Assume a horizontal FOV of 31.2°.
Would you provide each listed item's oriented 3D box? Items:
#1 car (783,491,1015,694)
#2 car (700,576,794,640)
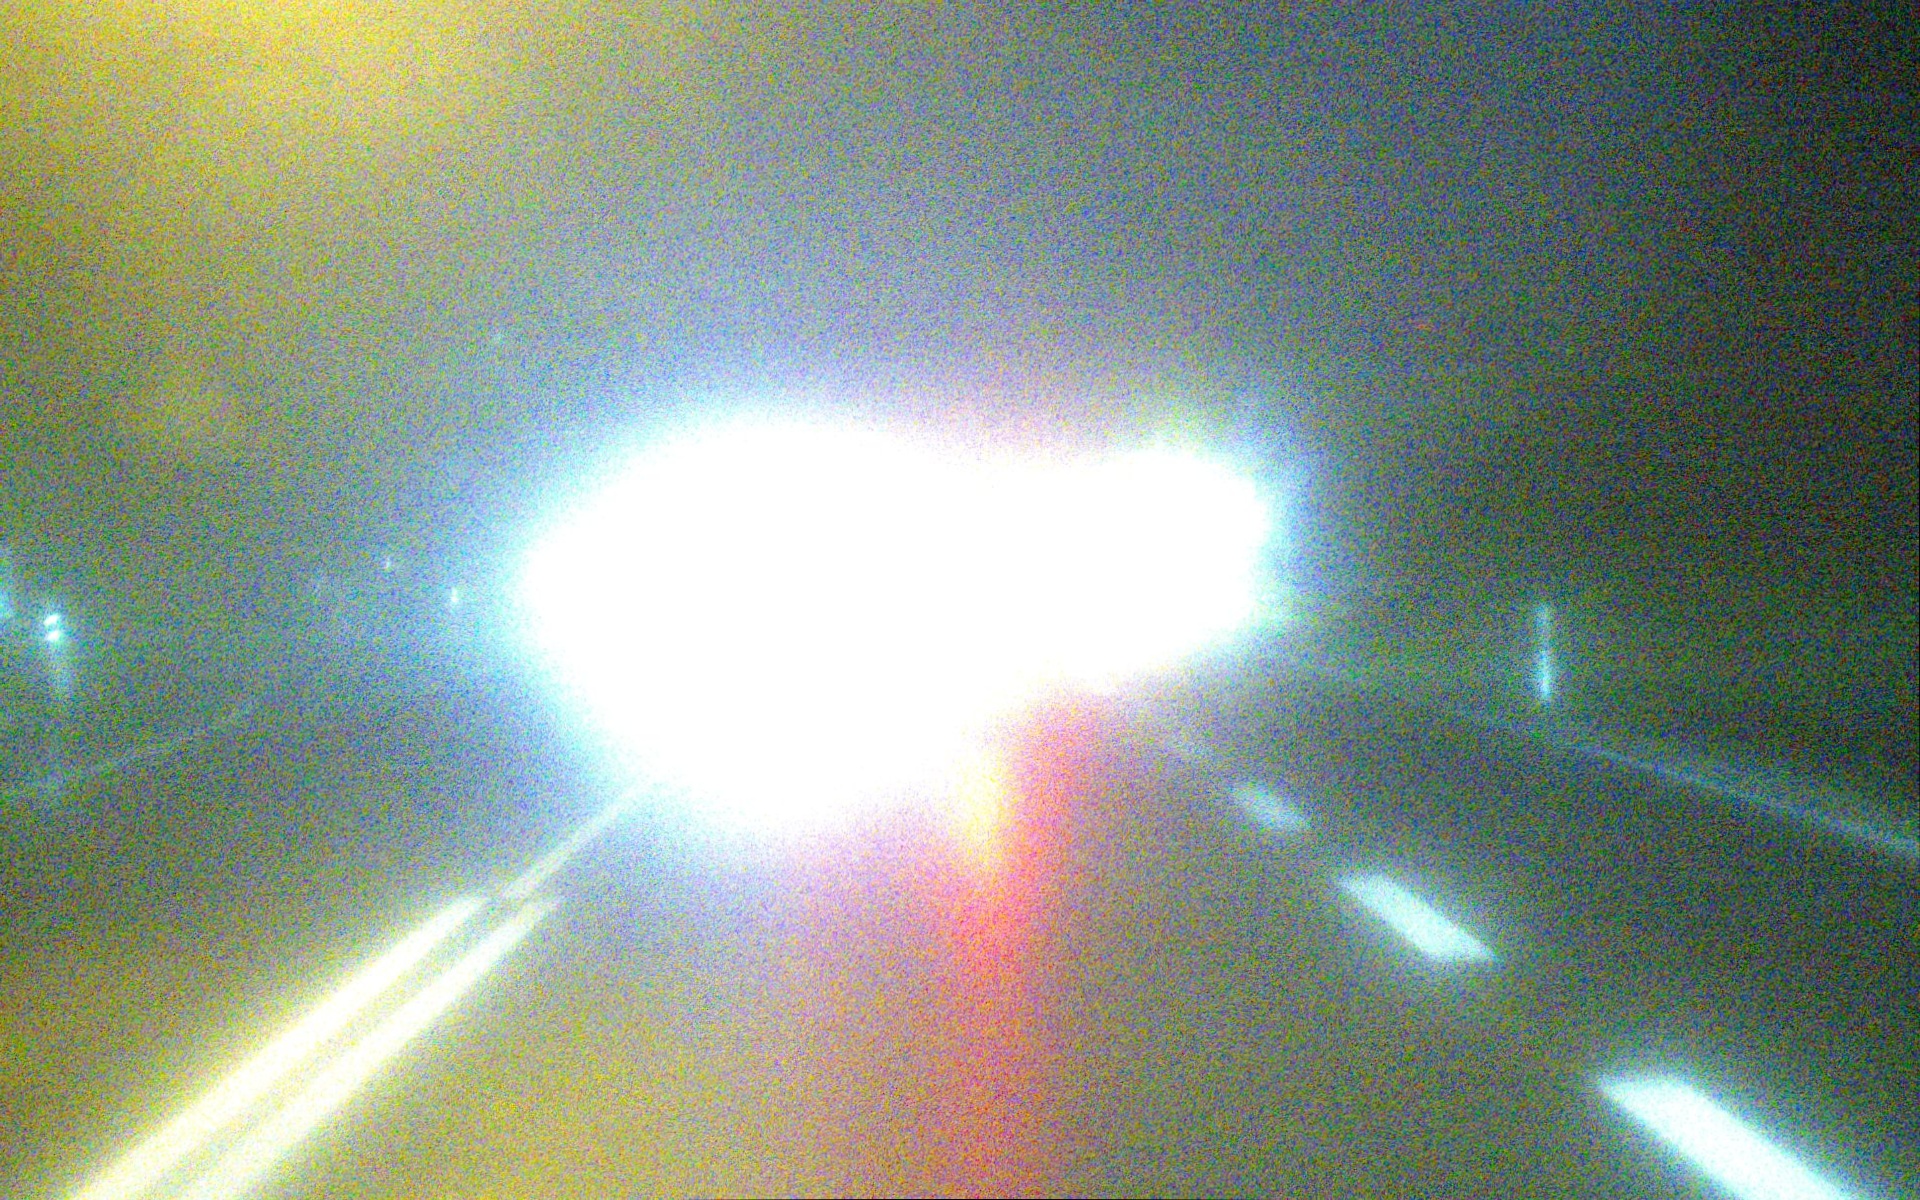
[{"bbox_3d":[-0.590,-0.074,29.499,1.808,1.616,4.001,0,0,-4],"label":"car"},{"bbox_3d":[-5.115,0.183,82.911,1.993,1.468,4.276,1,0,0],"label":"car"}]
